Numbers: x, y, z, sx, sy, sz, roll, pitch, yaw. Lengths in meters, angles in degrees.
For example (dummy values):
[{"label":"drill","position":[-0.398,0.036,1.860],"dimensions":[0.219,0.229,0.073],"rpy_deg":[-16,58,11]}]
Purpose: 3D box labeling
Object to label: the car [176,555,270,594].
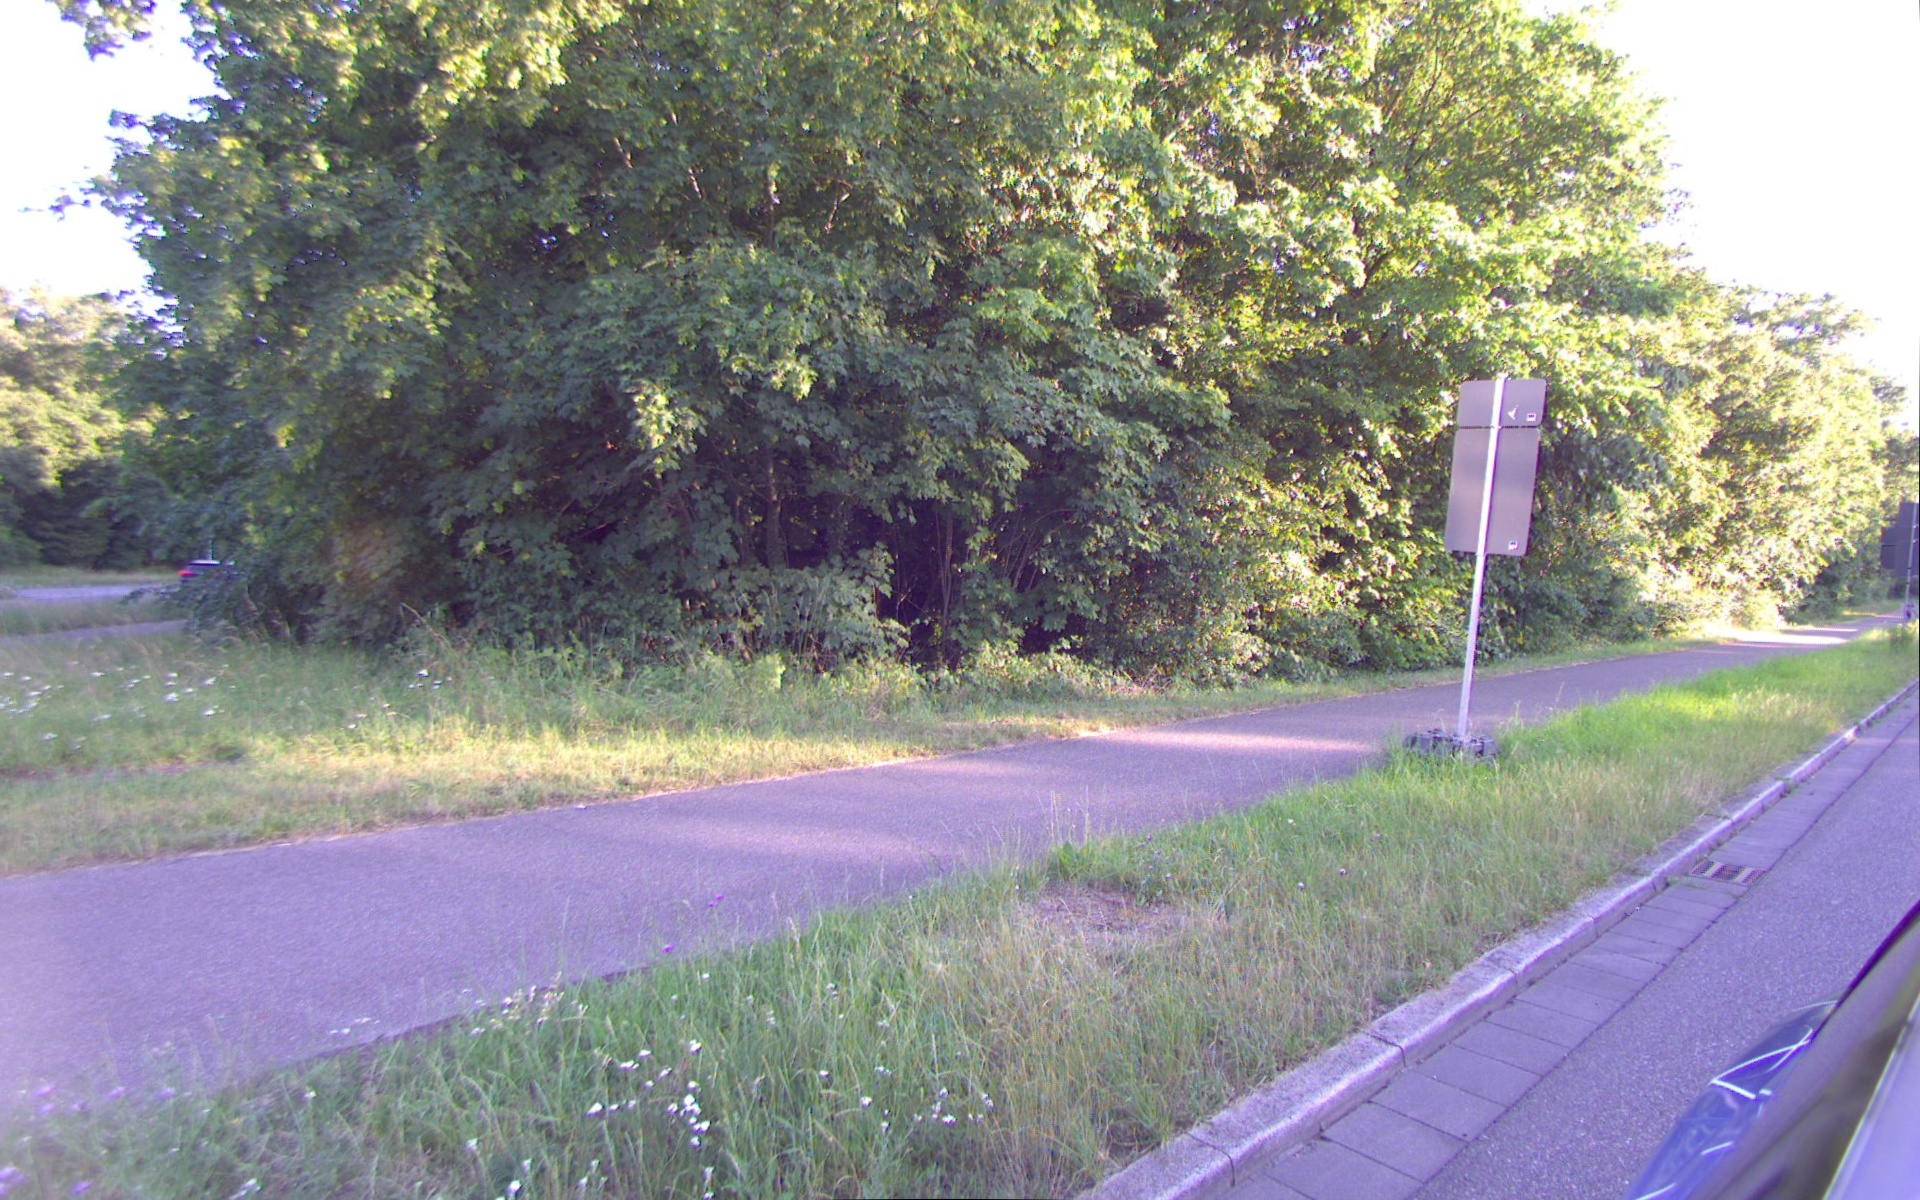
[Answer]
[{"label":"car","position":[-31.581,-1.109,43.532],"dimensions":[1.958,1.549,4.689],"rpy_deg":[0,1,-19]}]
